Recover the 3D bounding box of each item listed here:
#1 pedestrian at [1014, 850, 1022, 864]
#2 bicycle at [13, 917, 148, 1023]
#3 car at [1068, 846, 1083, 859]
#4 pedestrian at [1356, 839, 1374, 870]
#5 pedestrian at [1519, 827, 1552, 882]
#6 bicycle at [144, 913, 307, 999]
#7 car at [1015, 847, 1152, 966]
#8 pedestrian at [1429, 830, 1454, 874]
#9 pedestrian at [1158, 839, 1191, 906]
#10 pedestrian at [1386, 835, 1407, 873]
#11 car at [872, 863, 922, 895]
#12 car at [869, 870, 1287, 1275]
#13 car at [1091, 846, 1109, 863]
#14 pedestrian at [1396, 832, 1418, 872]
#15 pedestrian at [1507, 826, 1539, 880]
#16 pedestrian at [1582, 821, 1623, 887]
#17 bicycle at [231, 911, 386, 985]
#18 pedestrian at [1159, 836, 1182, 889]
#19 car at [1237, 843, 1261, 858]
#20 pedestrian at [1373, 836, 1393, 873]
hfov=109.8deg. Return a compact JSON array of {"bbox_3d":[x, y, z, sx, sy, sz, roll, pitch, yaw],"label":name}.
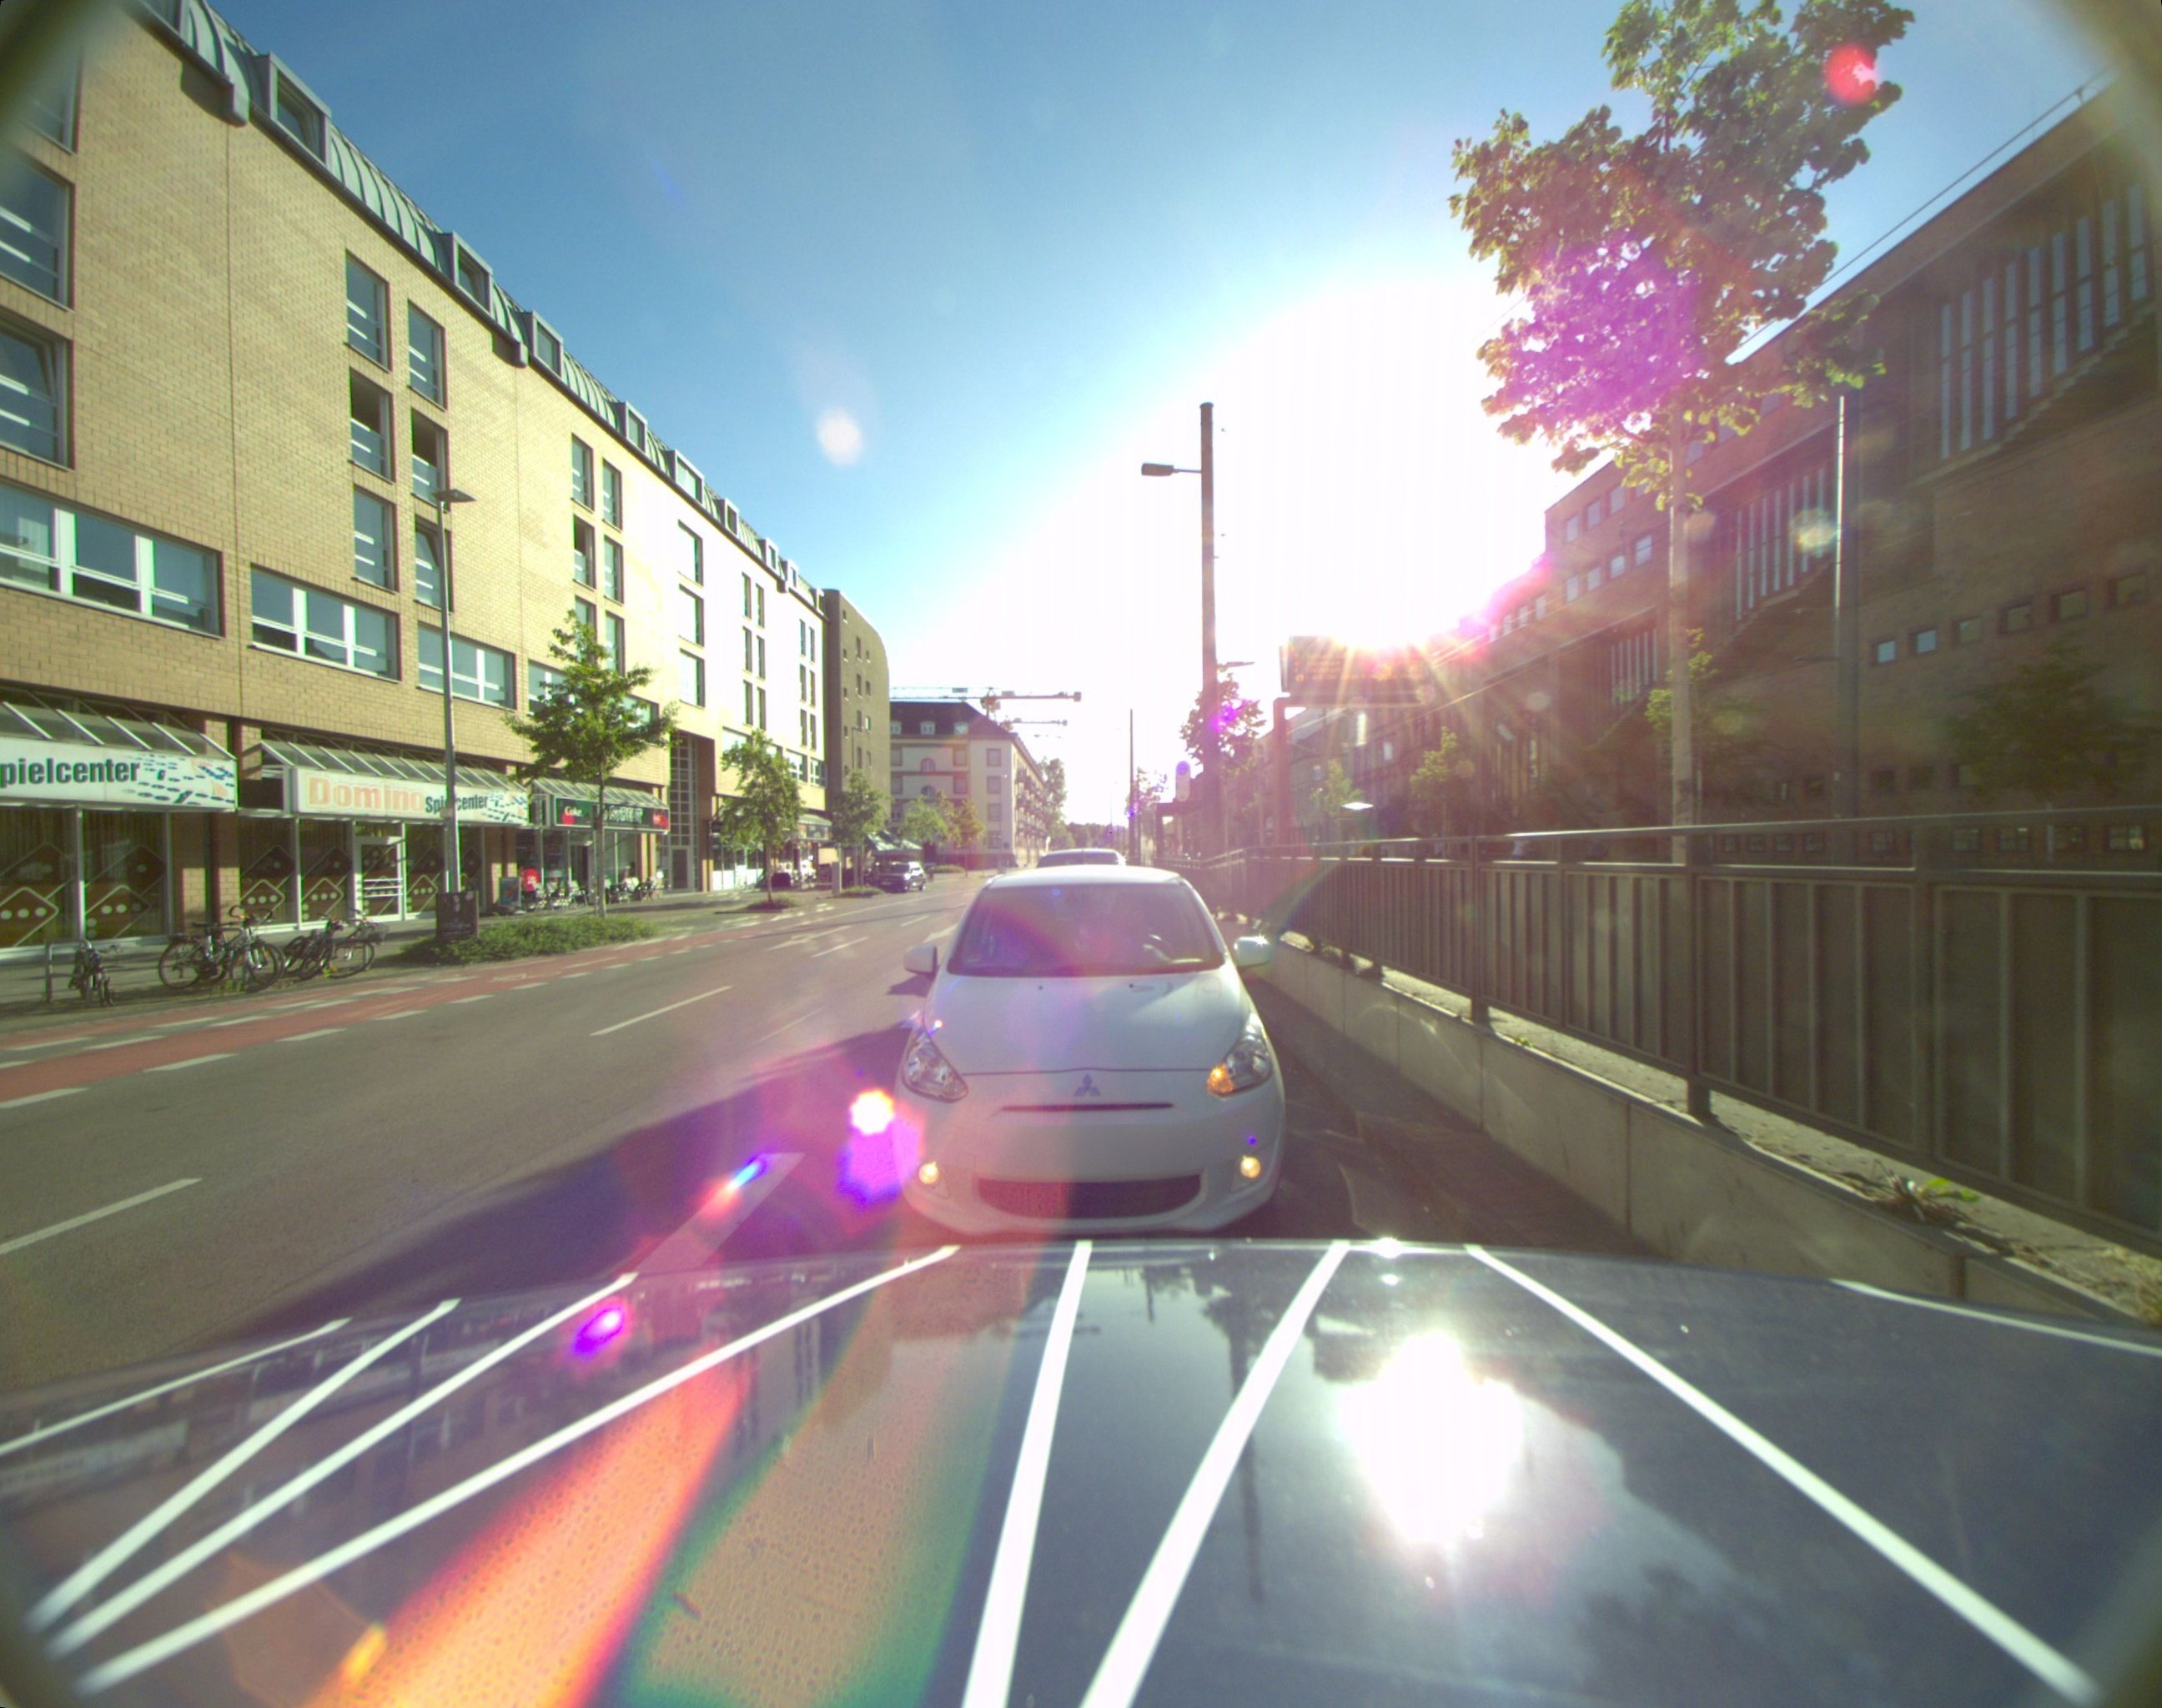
[{"bbox_3d":[-7.181,0.335,86.849,0.804,1.656,0.891,-1,1,-7],"label":"pedestrian"},{"bbox_3d":[-12.819,1.448,9.730,1.771,1.142,0.554,1,2,21],"label":"bicycle"},{"bbox_3d":[-0.678,-0.170,96.457,1.829,1.644,3.682,-1,0,0],"label":"car"},{"bbox_3d":[14.462,0.025,38.675,0.692,1.566,0.586,-1,1,-2],"label":"pedestrian"},{"bbox_3d":[14.532,0.026,24.293,0.692,1.732,0.586,-1,1,-2],"label":"pedestrian"},{"bbox_3d":[-12.352,1.454,10.992,1.774,1.135,0.553,0,2,3],"label":"bicycle"},{"bbox_3d":[0.065,0.752,13.299,1.955,1.652,4.355,-2,1,1],"label":"car"},{"bbox_3d":[14.515,-0.077,30.589,0.692,1.732,0.586,-1,1,-2],"label":"pedestrian"},{"bbox_3d":[2.843,0.549,23.019,0.783,2.002,0.881,-1,1,21],"label":"pedestrian"},{"bbox_3d":[14.487,0.001,34.902,0.692,1.732,0.586,-1,1,-2],"label":"pedestrian"},{"bbox_3d":[-9.971,1.300,41.450,1.655,1.521,3.693,-2,1,1],"label":"car"},{"bbox_3d":[0.019,0.937,5.172,1.640,1.458,4.186,-2,1,1],"label":"car"},{"bbox_3d":[2.143,0.048,86.720,1.998,1.958,4.000,-1,0,1],"label":"car"},{"bbox_3d":[14.358,-0.102,33.425,0.692,1.732,0.586,-1,1,-2],"label":"pedestrian"},{"bbox_3d":[14.530,-0.042,24.977,0.692,1.732,0.586,-1,1,-2],"label":"pedestrian"},{"bbox_3d":[14.033,0.005,20.442,0.692,1.732,0.586,-1,1,-2],"label":"pedestrian"},{"bbox_3d":[-12.389,1.496,12.223,1.774,1.065,0.737,0,2,3],"label":"bicycle"},{"bbox_3d":[3.470,0.338,29.423,0.784,2.002,0.880,-1,1,1],"label":"pedestrian"},{"bbox_3d":[17.573,-0.395,79.677,1.702,1.477,3.704,-1,0,1],"label":"car"},{"bbox_3d":[14.333,0.022,36.102,0.692,1.732,0.586,-1,1,-2],"label":"pedestrian"}]
